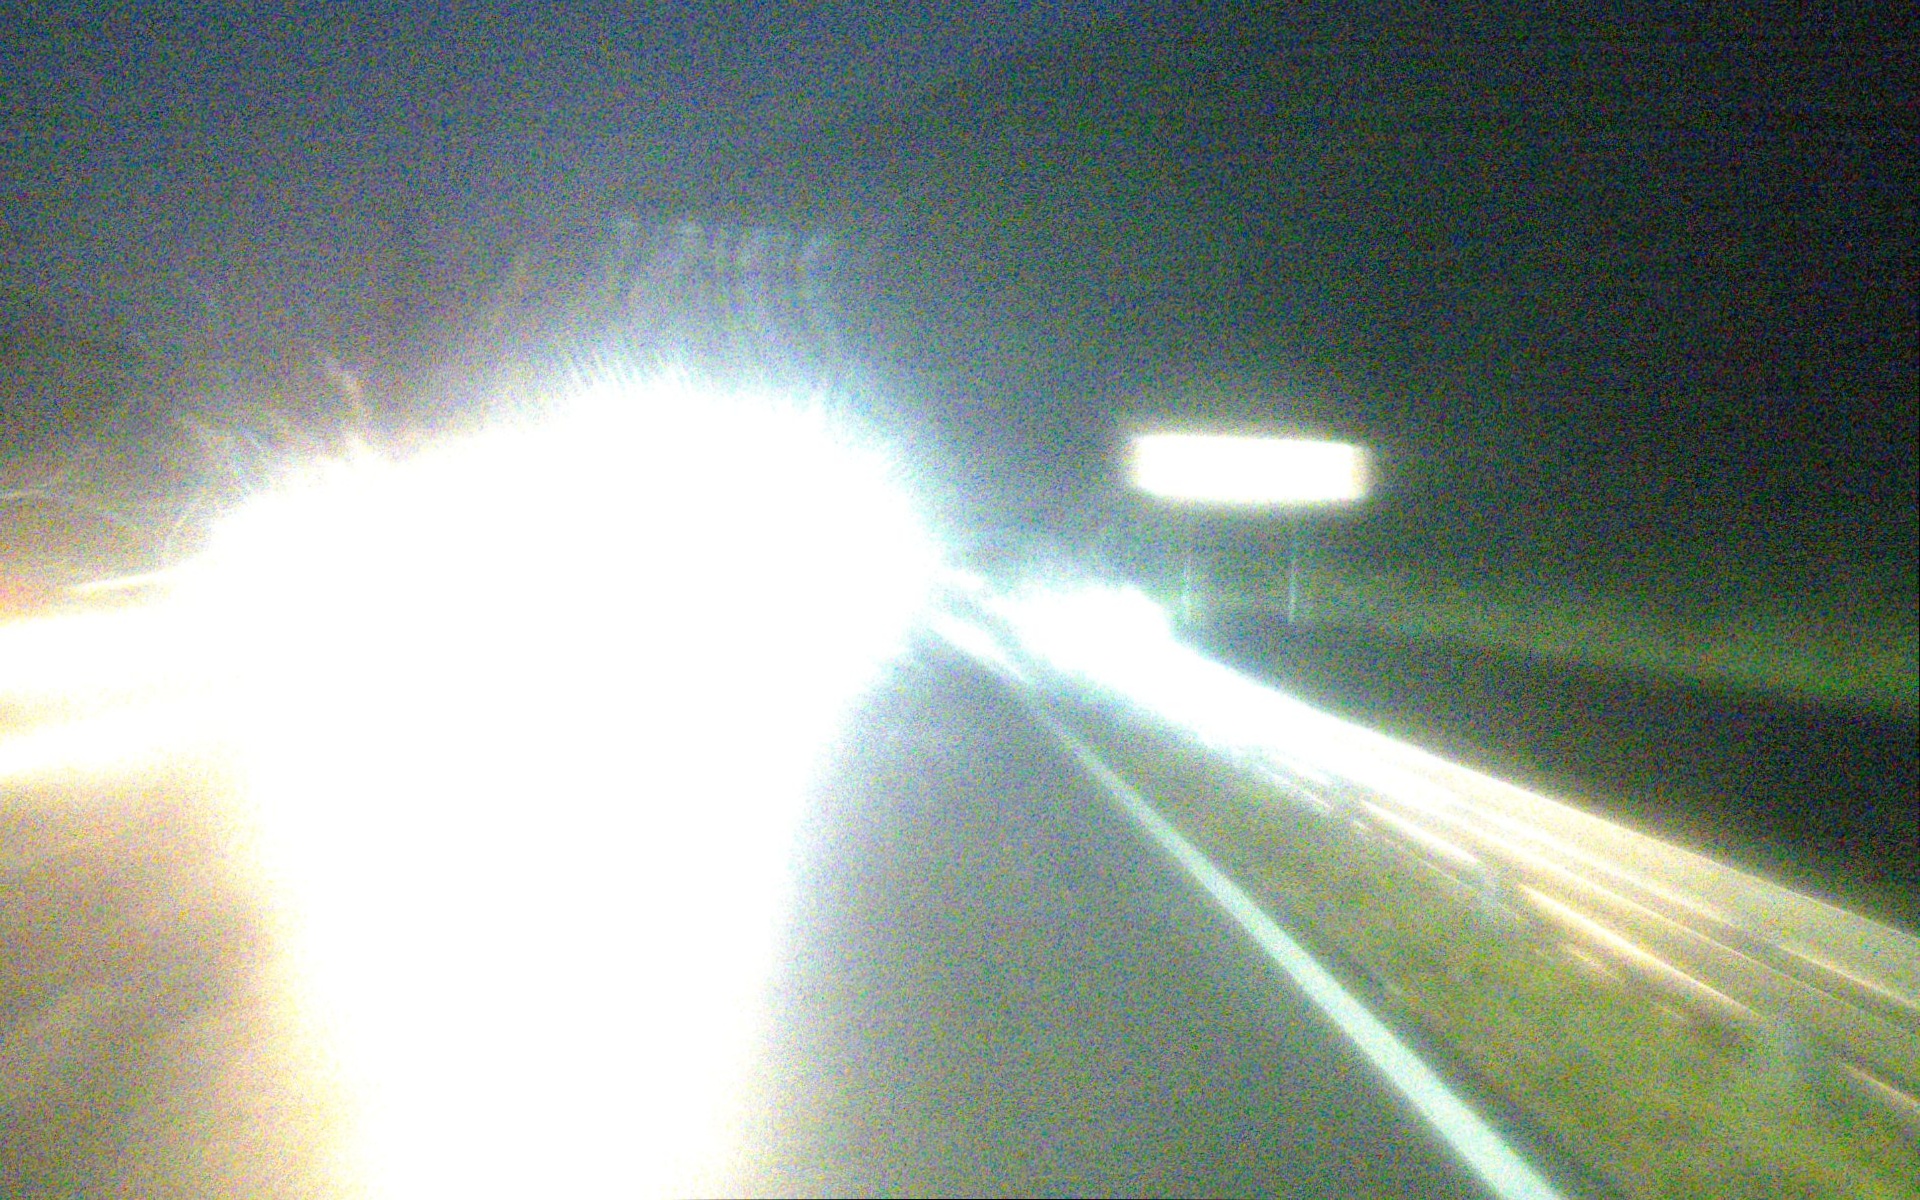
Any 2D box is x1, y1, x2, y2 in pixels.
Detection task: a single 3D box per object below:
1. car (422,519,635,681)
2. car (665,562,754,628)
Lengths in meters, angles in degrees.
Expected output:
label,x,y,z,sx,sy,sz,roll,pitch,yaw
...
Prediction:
label,x,y,z,sx,sy,sz,roll,pitch,yaw
car,-4.517,-0.033,36.475,1.868,1.607,3.847,1,1,-2
car,-5.896,-0.141,81.275,1.868,1.443,4.393,1,1,-2
